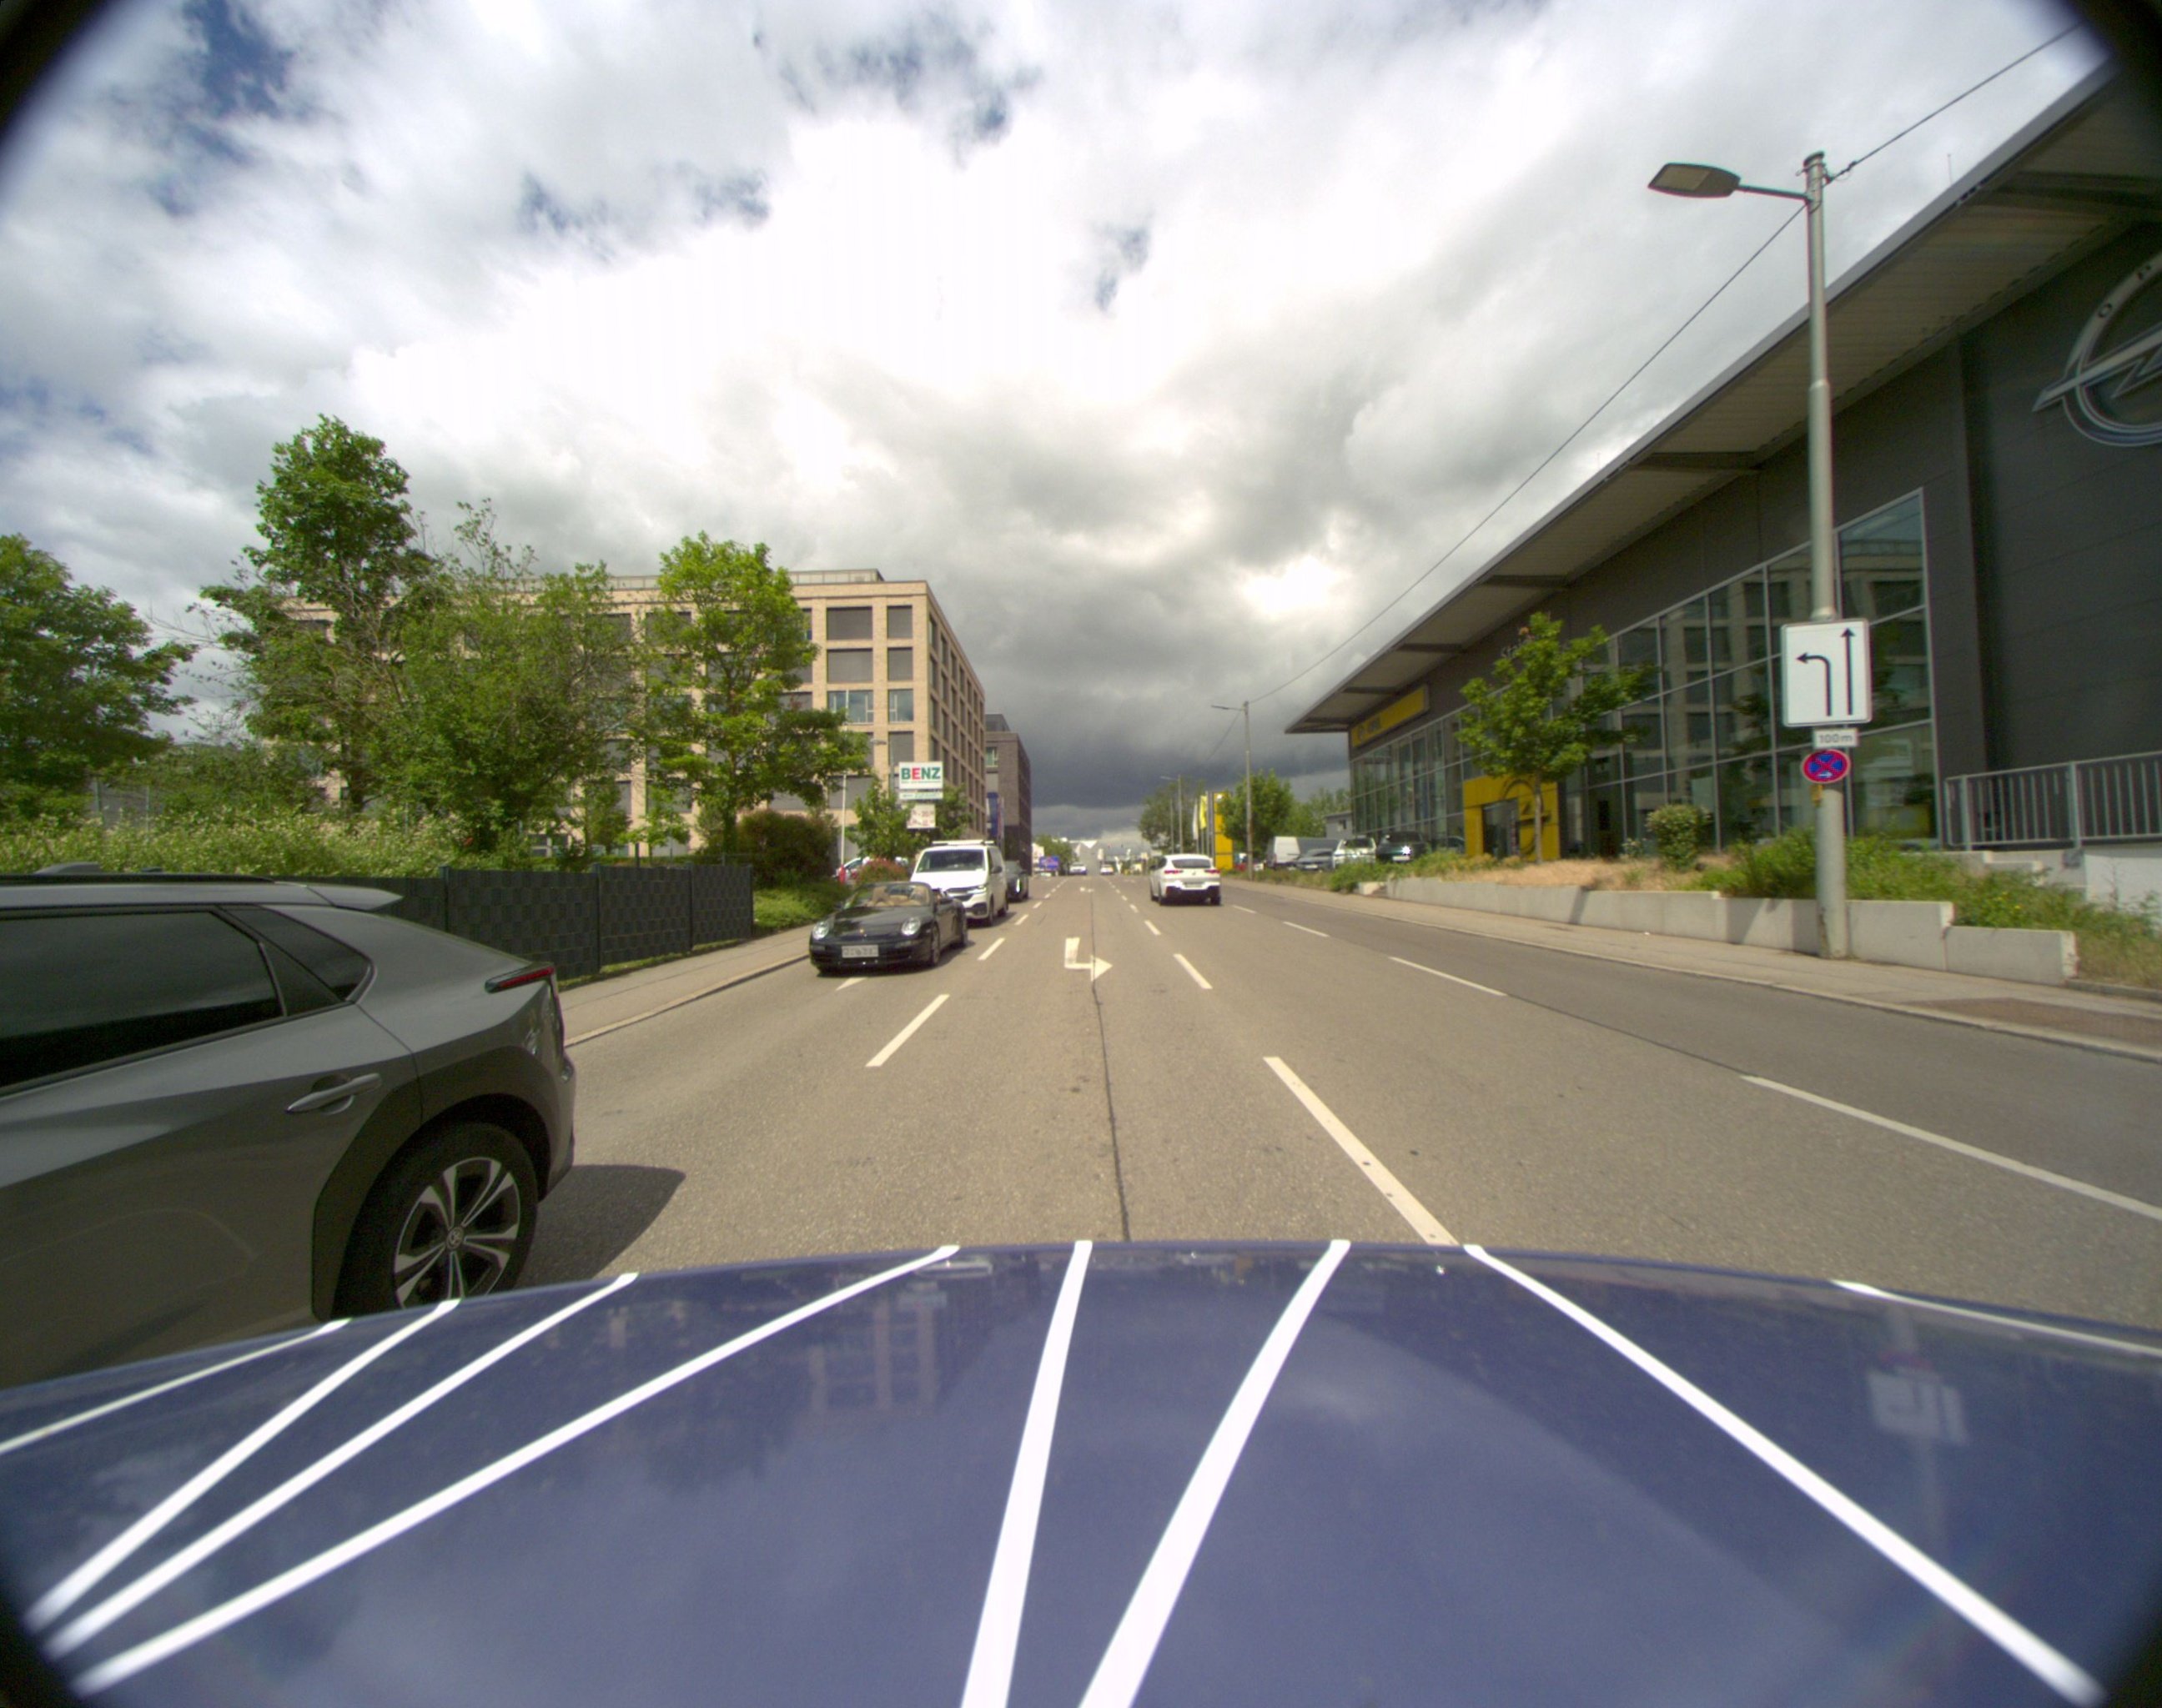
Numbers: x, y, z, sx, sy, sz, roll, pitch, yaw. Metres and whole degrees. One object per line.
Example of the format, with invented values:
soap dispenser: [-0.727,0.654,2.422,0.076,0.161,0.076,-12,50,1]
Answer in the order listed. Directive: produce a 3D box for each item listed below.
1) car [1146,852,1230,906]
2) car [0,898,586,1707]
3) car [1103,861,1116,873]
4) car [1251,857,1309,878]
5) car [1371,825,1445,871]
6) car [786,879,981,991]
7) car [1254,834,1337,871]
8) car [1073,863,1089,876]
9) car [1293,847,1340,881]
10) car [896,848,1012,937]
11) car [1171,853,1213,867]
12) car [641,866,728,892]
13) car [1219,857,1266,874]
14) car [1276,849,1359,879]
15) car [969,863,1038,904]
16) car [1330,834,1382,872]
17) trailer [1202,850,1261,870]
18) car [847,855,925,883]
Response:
car: [3.289,0.714,24.209,1.833,1.543,4.305,-1,0,-3]
car: [-2.996,1.015,0.680,1.924,1.604,4.683,-3,0,1]
car: [4.260,1.926,114.367,1.924,1.604,4.415,-1,1,1]
car: [14.968,1.010,57.289,3.946,1.518,1.561,-1,0,-2]
car: [12.400,-0.213,28.673,1.817,1.604,4.117,-1,0,34]
car: [-2.909,1.142,12.311,1.777,1.267,4.569,-3,0,2]
car: [13.471,-0.117,47.884,4.532,2.182,2.179,-1,1,-1]
car: [-0.008,1.848,90.993,1.866,1.398,4.000,-1,0,1]
car: [12.145,0.489,39.013,1.794,1.604,4.116,-1,0,24]
car: [-2.965,0.854,18.808,1.964,1.840,4.645,-3,0,1]
car: [12.299,0.627,84.419,4.252,1.473,2.095,-1,0,-2]
car: [-23.372,1.454,44.911,4.219,1.410,1.735,-1,0,-1]
car: [13.713,0.969,64.799,3.669,1.401,1.815,-1,0,2]
car: [13.341,0.562,43.016,4.108,1.604,1.797,-1,0,-8]
car: [-2.772,1.039,28.201,1.777,1.267,4.569,-1,0,4]
car: [12.232,-0.056,33.666,1.793,1.604,4.115,-1,1,25]
trailer: [13.567,0.520,68.705,4.835,1.742,2.095,-1,0,-3]
car: [-11.610,0.894,45.478,4.220,1.567,1.735,-1,0,-4]
